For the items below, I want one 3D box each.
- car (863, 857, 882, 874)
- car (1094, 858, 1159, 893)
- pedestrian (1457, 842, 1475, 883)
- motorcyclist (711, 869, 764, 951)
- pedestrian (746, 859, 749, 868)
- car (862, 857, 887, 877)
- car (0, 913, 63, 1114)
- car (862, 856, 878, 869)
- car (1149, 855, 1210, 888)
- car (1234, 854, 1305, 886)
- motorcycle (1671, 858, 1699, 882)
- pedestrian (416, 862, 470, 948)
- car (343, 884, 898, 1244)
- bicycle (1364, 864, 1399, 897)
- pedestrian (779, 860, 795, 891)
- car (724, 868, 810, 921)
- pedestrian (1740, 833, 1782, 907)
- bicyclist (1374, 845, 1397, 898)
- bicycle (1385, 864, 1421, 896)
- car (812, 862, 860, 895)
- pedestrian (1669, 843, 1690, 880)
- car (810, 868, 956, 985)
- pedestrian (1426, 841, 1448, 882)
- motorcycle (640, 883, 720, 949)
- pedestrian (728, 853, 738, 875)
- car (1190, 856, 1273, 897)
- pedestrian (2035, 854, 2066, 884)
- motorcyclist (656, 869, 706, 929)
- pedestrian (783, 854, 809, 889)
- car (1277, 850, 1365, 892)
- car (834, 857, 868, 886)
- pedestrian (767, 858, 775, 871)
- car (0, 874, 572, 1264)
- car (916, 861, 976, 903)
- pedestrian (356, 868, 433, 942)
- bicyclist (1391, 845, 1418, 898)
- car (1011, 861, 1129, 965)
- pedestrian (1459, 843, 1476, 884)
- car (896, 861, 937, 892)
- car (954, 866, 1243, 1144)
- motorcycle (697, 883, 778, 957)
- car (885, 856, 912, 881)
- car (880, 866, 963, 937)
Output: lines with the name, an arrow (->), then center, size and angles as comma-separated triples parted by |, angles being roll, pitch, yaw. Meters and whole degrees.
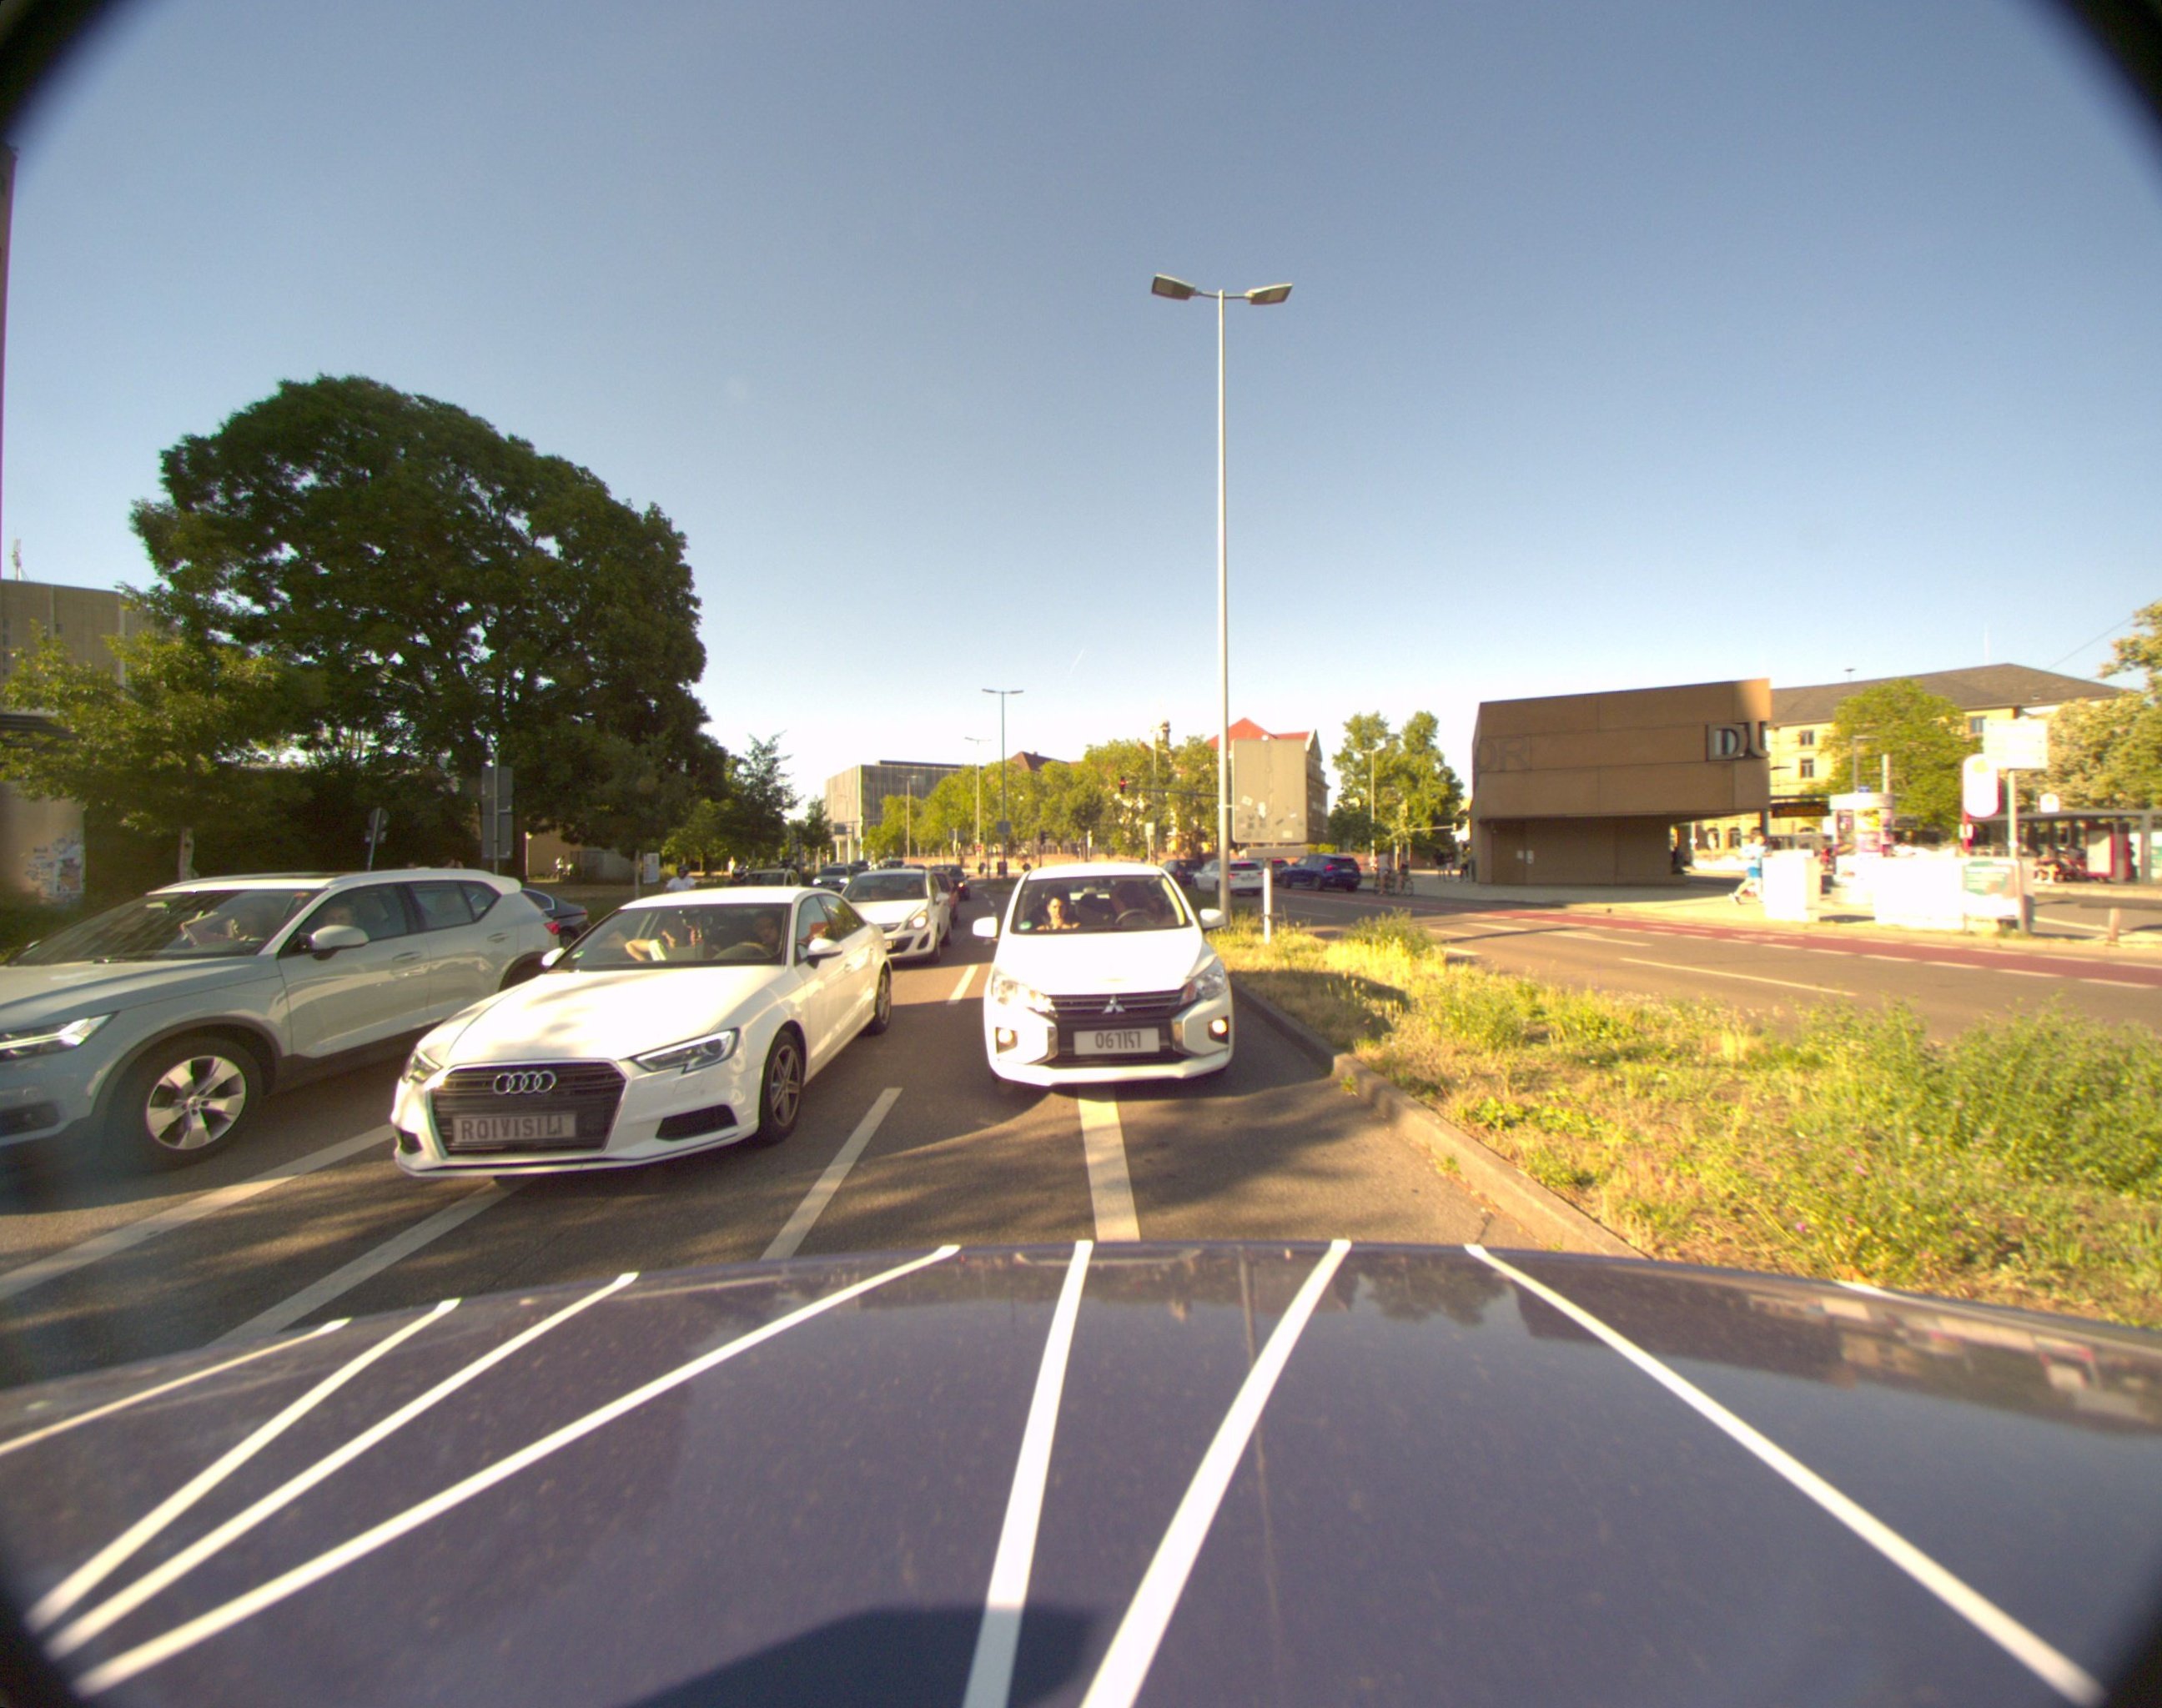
car -> -23.643, 1.280, 86.086 | 1.881, 1.805, 3.993 | -1, 0, -19
car -> 2.091, 0.985, 36.002 | 1.757, 1.451, 4.183 | -2, 1, -16
pedestrian -> 18.702, 0.414, 36.905 | 0.655, 2.002, 0.469 | -2, 1, 20
motorcyclist -> -7.009, 1.125, 15.528 | 0.711, 1.581, 0.690 | -2, 1, -4
pedestrian -> -58.908, 1.645, 134.269 | 0.409, 1.476, 0.486 | -1, 1, 1
car -> -18.257, 1.137, 67.138 | 1.748, 1.696, 3.993 | -1, 0, -20
car -> -8.761, 1.238, 3.892 | 1.628, 1.451, 4.040 | -2, 1, -2
car -> -30.694, 1.225, 110.532 | 1.881, 1.805, 3.993 | -1, 0, -19
car -> 4.789, 0.796, 37.487 | 1.757, 1.451, 4.184 | -2, 1, -11
car -> 9.590, 0.790, 39.016 | 1.850, 1.483, 4.388 | 1, 0, -10
motorcycle -> 26.342, 0.700, 33.139 | 0.948, 1.061, 0.331 | -1, 1, 39
pedestrian -> -14.380, 1.145, 17.138 | 0.464, 1.875, 0.696 | -2, 1, 18
car -> -2.557, 1.034, 5.400 | 1.628, 1.396, 3.832 | -2, 1, -2
bicycle -> 11.646, 1.011, 29.458 | 0.464, 1.185, 1.395 | -3, 1, -17
pedestrian -> -15.639, 1.149, 40.463 | 0.596, 1.585, 0.594 | -2, 1, -8
car -> -10.381, 1.282, 25.405 | 1.746, 1.516, 3.996 | -1, 0, -9
pedestrian -> 17.730, 0.398, 19.833 | 0.797, 1.886, 0.612 | 0, 1, 40
bicyclist -> 11.732, 0.663, 29.299 | 0.611, 2.002, 0.565 | -1, 1, -15
bicycle -> 12.469, 0.979, 29.496 | 0.464, 1.185, 1.395 | -3, 1, -17
car -> -12.354, 1.212, 38.521 | 1.746, 1.536, 3.996 | -1, 0, -10
pedestrian -> 33.062, 0.399, 41.974 | 0.780, 2.002, 0.771 | -3, 2, -42
car -> -3.077, 1.046, 12.589 | 1.628, 1.451, 4.039 | -2, 1, -5
pedestrian -> 17.638, 0.368, 37.671 | 0.777, 2.002, 0.773 | -2, 1, 13
motorcycle -> -9.168, 1.380, 17.477 | 0.718, 1.297, 2.234 | -2, 1, -4
pedestrian -> -25.350, 0.732, 55.388 | 0.548, 1.521, 0.603 | -3, 1, -19
car -> 6.095, 0.862, 31.290 | 1.850, 1.483, 4.388 | -2, 1, -10
pedestrian -> 39.010, 0.609, 30.584 | 0.539, 1.180, 0.659 | -2, 1, 29
motorcyclist -> -9.189, 1.013, 17.470 | 0.718, 1.297, 0.735 | -2, 1, -4
pedestrian -> -16.908, 1.013, 45.136 | 1.143, 2.002, 1.285 | -2, 1, -10
car -> 10.381, 0.705, 33.159 | 1.757, 1.680, 4.184 | -1, 0, -13
car -> -15.262, 1.136, 50.563 | 1.880, 1.805, 3.995 | -1, 0, -14
pedestrian -> -47.524, 1.572, 116.498 | 0.840, 2.002, 1.065 | -3, 1, -30
car -> -5.753, 1.050, 5.267 | 1.628, 1.611, 4.223 | -2, 1, -2
car -> -5.565, 1.074, 30.944 | 1.748, 1.536, 3.993 | -1, 0, -20
pedestrian -> -16.774, 1.222, 18.597 | 1.010, 1.711, 0.884 | -2, 1, -10
bicyclist -> 12.490, 0.675, 29.346 | 0.611, 2.002, 0.708 | -1, 1, -15
car -> -0.159, 0.935, 13.799 | 1.755, 1.451, 4.188 | -2, 1, 0
pedestrian -> 19.183, 0.448, 37.729 | 0.655, 2.002, 0.469 | -2, 1, 20
car -> -9.658, 1.263, 44.392 | 1.748, 1.696, 3.993 | -1, 0, -21
car -> 0.053, 0.910, 6.443 | 1.628, 1.451, 4.040 | -2, 1, -2
motorcycle -> -7.003, 1.305, 15.638 | 0.718, 1.297, 2.234 | -2, 1, -4
car -> -13.799, 1.081, 57.494 | 1.880, 1.805, 3.995 | -1, 0, -14
car -> -3.900, 1.094, 19.106 | 1.628, 1.451, 4.039 | -2, 1, -7
